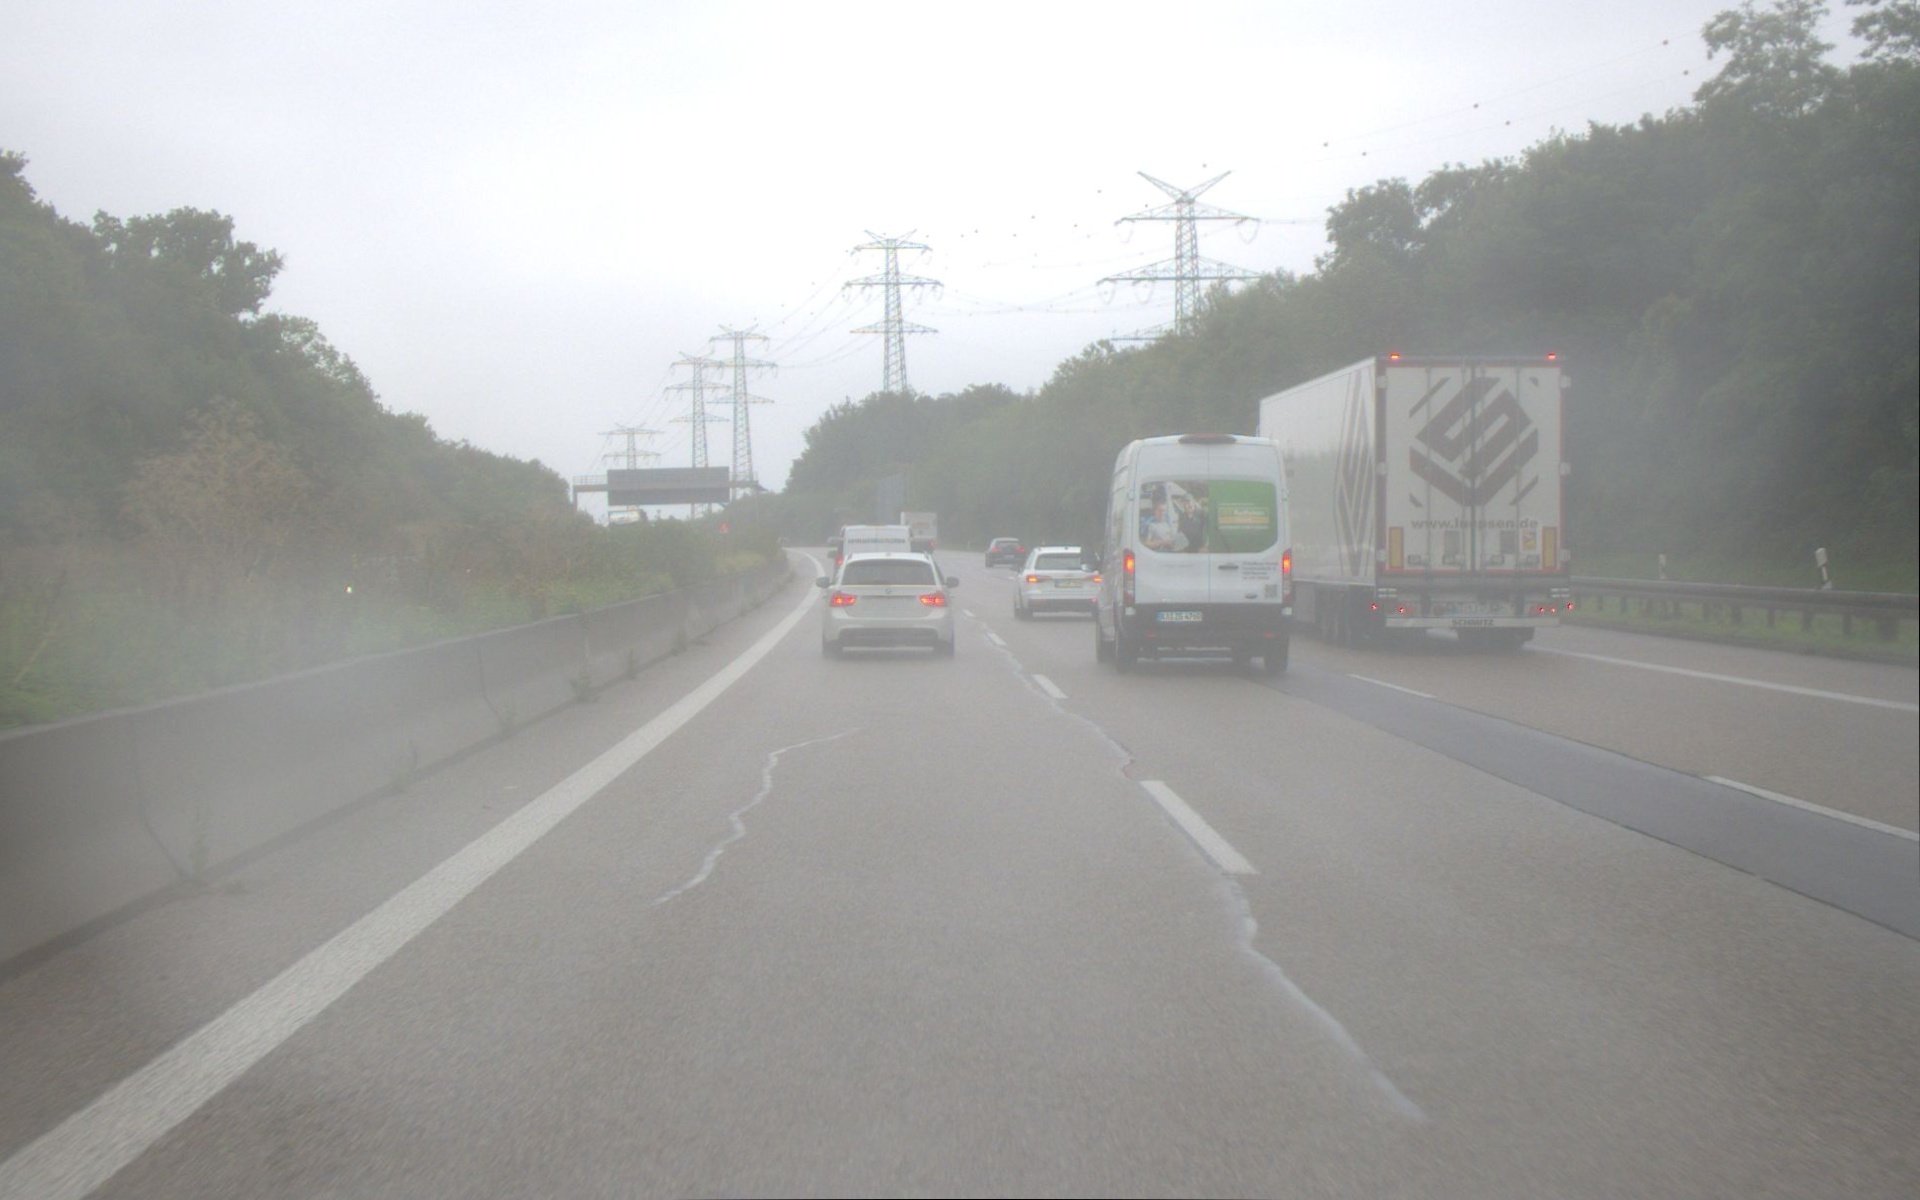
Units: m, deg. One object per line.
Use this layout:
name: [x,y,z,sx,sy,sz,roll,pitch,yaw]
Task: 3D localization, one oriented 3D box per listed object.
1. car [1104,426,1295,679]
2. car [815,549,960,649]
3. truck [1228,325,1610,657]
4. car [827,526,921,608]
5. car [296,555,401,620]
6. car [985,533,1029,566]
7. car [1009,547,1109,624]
car: [2.808,-0.576,41.039,1.993,2.854,4.000,0,1,0]
car: [-0.992,-0.044,46.678,1.866,1.284,4.000,0,1,-1]
truck: [6.536,-1.484,51.689,3.603,4.317,13.200,-1,0,-1]
car: [-1.901,-0.758,76.963,1.846,1.766,4.000,0,1,2]
car: [-14.619,-0.320,82.380,1.875,1.448,4.000,-1,1,-1]
car: [2.306,-2.457,167.062,1.993,1.481,4.000,-3,0,2]
car: [1.951,-0.303,66.879,1.857,1.418,4.000,0,1,3]
